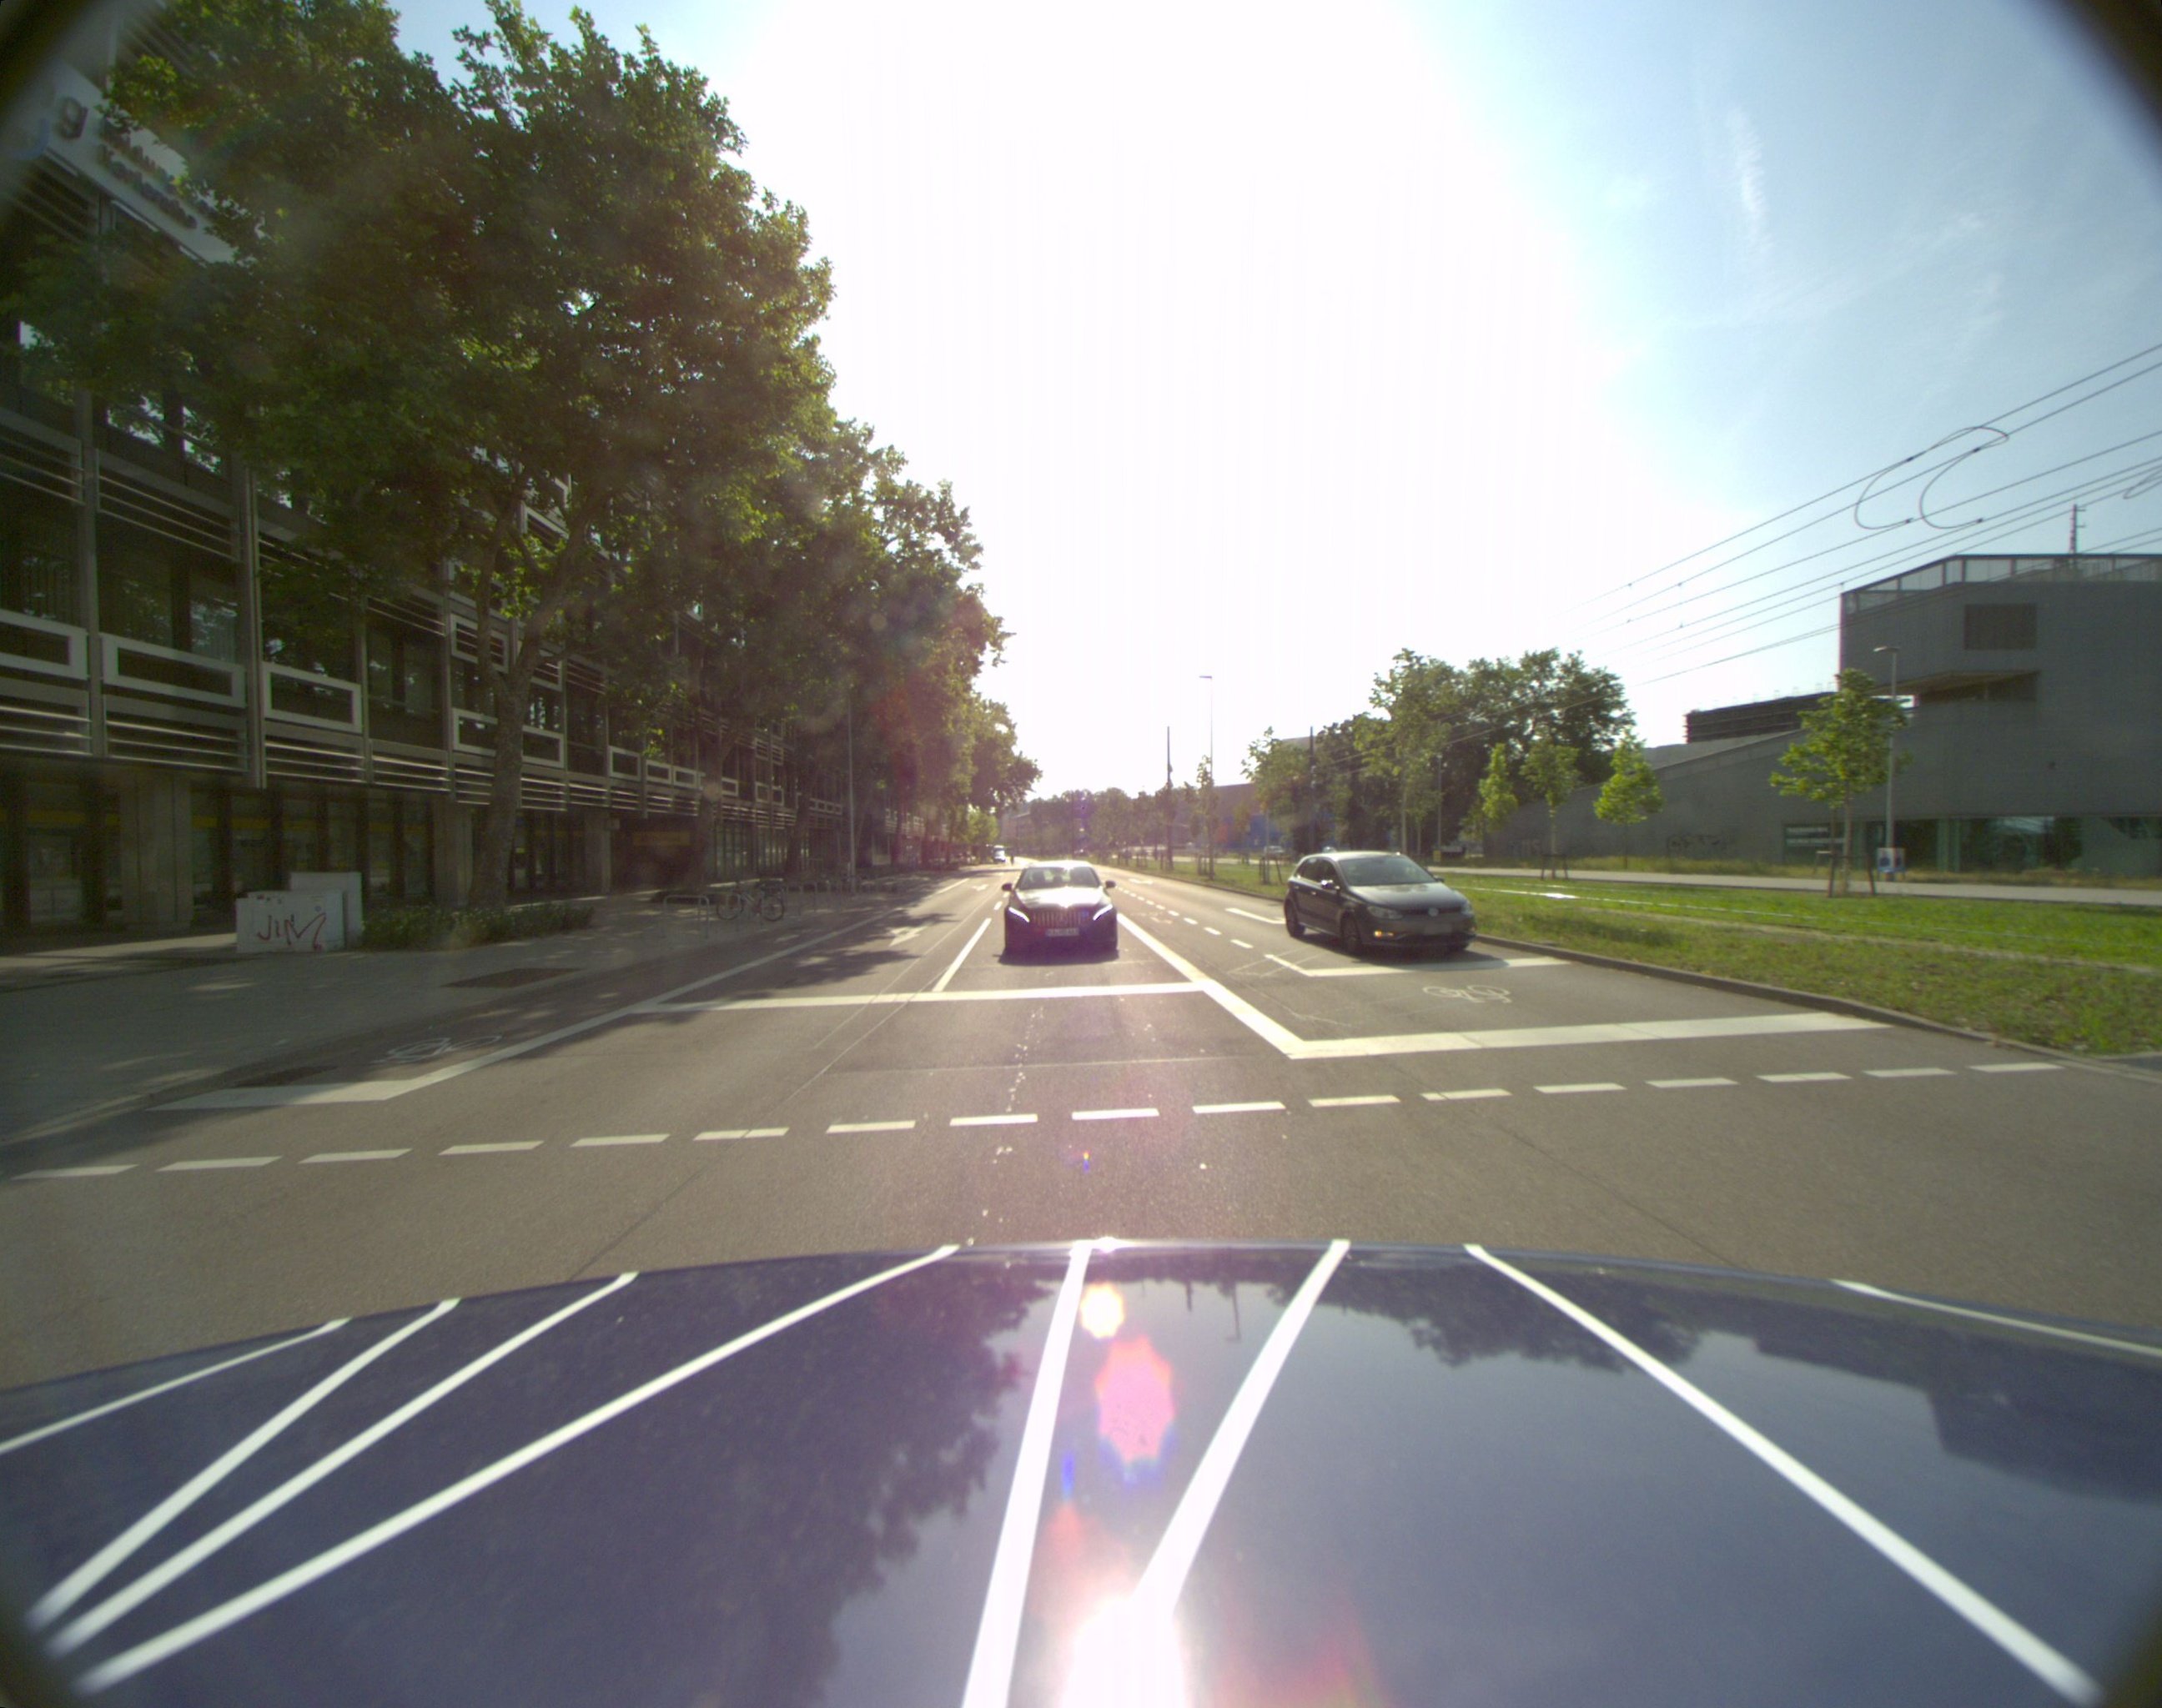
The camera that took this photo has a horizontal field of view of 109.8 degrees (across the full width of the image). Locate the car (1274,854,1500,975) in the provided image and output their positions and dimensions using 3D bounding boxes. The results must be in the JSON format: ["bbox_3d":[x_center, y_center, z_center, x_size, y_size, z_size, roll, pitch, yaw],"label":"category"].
[{"bbox_3d":[4.413,0.773,11.648,1.709,1.424,3.868,-3,1,-2],"label":"car"}]

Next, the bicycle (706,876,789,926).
[{"bbox_3d":[-8.314,1.161,18.979,1.832,1.181,0.537,0,1,2],"label":"bicycle"}]

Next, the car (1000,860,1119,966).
[{"bbox_3d":[-0.355,0.894,13.733,1.716,1.429,5.056,-1,1,-1],"label":"car"}]

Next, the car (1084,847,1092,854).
[{"bbox_3d":[1.744,-0.952,189.255,1.757,1.608,4.333,-1,1,-3],"label":"car"}]

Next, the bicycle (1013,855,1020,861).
[{"bbox_3d":[-7.998,0.526,94.488,0.630,0.702,1.807,-1,0,-13],"label":"bicycle"}]

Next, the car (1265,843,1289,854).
[{"bbox_3d":[32.941,-0.909,128.055,2.020,1.758,4.818,-1,1,-11],"label":"car"}]

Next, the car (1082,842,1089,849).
[{"bbox_3d":[1.260,-2.478,217.204,1.757,1.968,3.770,-1,1,-3],"label":"car"}]

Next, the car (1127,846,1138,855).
[{"bbox_3d":[9.715,-0.690,143.708,1.757,1.608,3.770,-1,1,-3],"label":"car"}]

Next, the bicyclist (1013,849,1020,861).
[{"bbox_3d":[-8.030,0.123,94.572,0.612,1.505,0.813,-1,1,-13],"label":"bicyclist"}]
